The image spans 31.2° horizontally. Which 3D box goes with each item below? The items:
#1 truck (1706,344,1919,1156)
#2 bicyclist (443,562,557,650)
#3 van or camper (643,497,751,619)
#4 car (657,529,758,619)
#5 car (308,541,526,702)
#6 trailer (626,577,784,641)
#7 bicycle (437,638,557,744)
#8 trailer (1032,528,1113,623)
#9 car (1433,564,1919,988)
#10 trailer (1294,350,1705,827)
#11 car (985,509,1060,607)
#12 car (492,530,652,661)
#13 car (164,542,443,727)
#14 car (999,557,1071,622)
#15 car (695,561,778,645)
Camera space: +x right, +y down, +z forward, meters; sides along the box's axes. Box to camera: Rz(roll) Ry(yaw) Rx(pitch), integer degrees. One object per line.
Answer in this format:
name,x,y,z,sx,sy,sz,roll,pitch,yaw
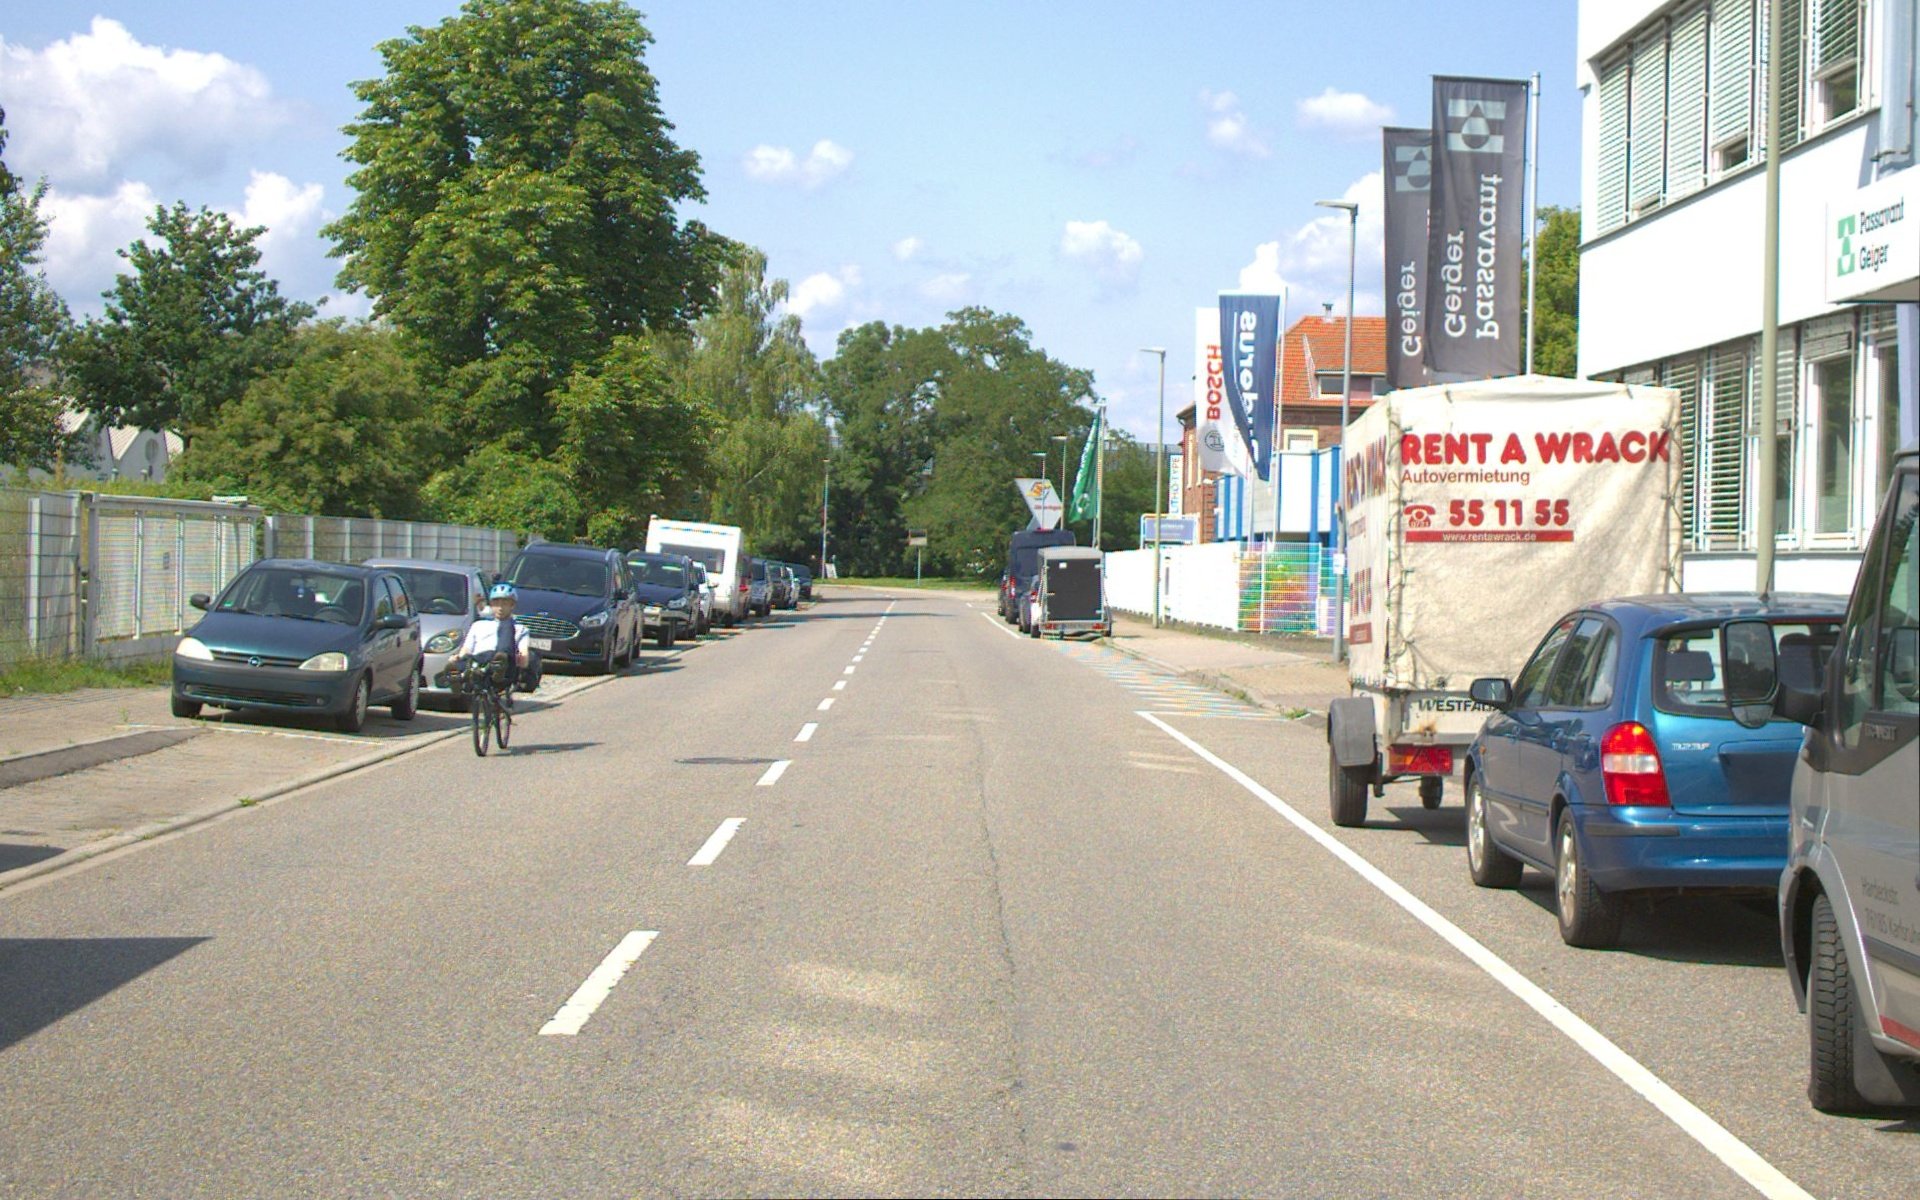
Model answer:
truck,3.389,0.389,8.478,1.964,2.028,4.735,1,1,-1
bicyclist,-3.635,0.033,27.277,0.566,0.629,1.857,2,2,2
van or camper,-6.624,-1.072,87.397,2.262,2.794,6.834,5,1,-2
car,-5.247,-0.569,71.883,1.827,1.787,4.736,1,1,-1
car,-5.553,0.180,35.525,1.615,1.478,3.710,3,1,-1
trailer,-4.665,0.132,63.949,2.271,0.880,7.132,5,1,1
bicycle,-3.662,0.707,27.304,0.587,0.739,2.125,1,1,2
trailer,2.484,-0.561,76.578,1.601,2.030,2.741,2,1,-1
car,3.249,0.644,15.025,1.718,1.537,4.403,2,1,0
trailer,3.150,-0.109,21.062,1.869,2.544,5.071,1,1,2
car,1.783,-1.246,100.262,1.937,2.739,6.155,1,1,-1
car,-5.453,-0.093,48.785,1.801,1.744,4.713,1,1,-1
car,-5.793,0.256,30.748,1.569,1.394,3.799,6,1,1
car,1.780,-0.281,82.704,1.572,1.502,4.133,1,1,-1
car,-5.089,0.050,78.271,1.683,1.686,4.446,5,1,-4
